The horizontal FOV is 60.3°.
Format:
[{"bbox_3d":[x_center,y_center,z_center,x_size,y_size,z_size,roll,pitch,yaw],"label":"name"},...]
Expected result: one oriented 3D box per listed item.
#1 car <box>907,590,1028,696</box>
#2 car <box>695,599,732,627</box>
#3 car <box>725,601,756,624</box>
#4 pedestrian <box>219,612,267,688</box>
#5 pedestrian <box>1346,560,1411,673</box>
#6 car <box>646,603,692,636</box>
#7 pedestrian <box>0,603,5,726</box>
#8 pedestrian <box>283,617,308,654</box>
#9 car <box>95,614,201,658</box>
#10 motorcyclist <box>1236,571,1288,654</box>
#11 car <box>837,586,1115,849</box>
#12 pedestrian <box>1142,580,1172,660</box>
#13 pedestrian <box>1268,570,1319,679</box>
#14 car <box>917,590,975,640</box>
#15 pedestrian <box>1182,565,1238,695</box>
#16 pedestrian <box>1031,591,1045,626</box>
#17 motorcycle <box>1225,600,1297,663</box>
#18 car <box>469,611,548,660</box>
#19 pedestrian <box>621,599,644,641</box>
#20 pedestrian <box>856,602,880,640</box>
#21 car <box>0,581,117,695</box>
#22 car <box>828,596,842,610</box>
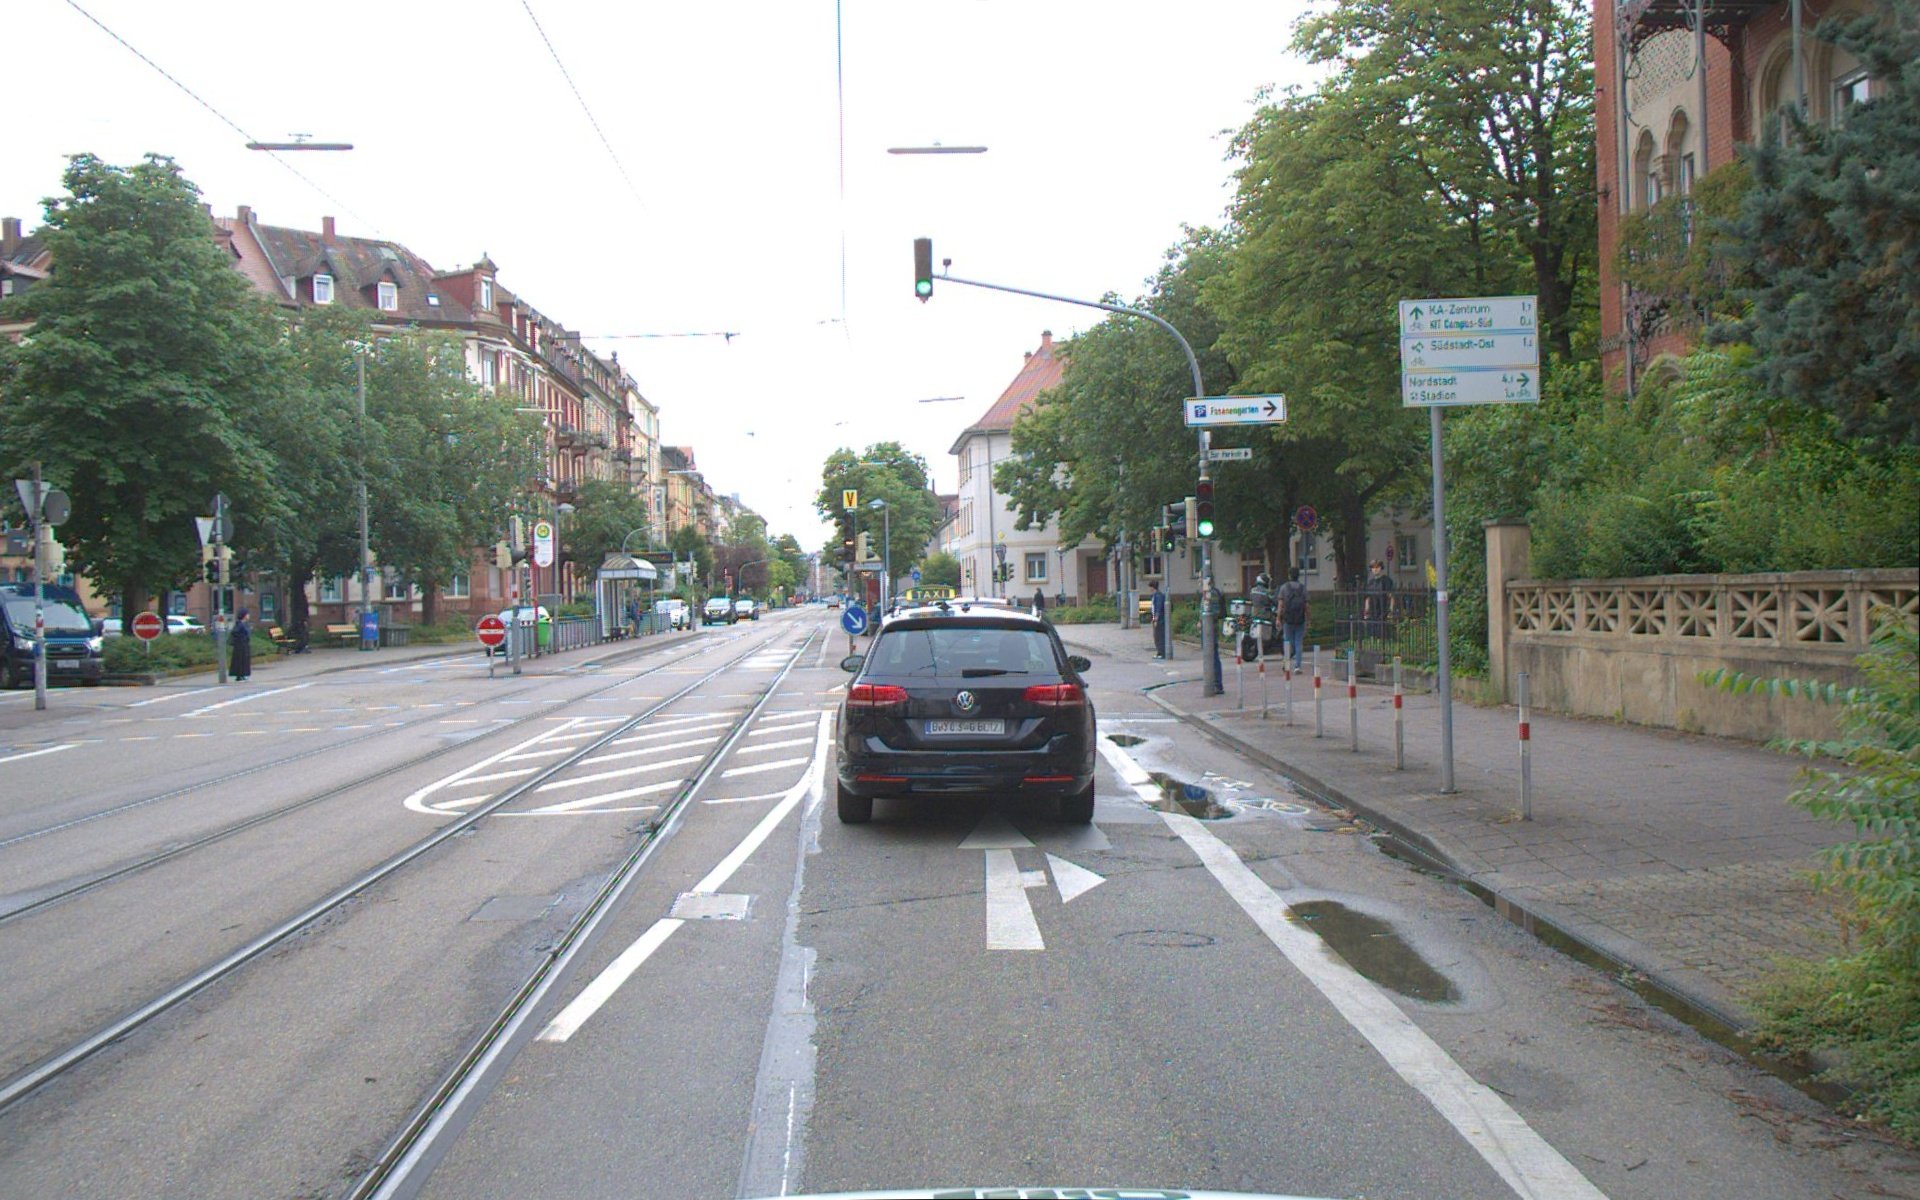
[{"bbox_3d":[0.053,0.650,27.237,1.689,1.573,3.997,-1,0,-4],"label":"car"},{"bbox_3d":[-15.337,0.780,103.017,1.759,1.624,3.999,-2,0,-1],"label":"car"},{"bbox_3d":[-16.048,0.880,121.018,1.759,1.624,3.999,-2,0,-1],"label":"car"},{"bbox_3d":[-16.479,1.137,38.019,0.820,1.692,0.591,-2,0,-3],"label":"pedestrian"},{"bbox_3d":[7.014,0.277,27.720,0.648,1.863,0.787,-2,0,-45],"label":"pedestrian"},{"bbox_3d":[-15.296,0.989,87.044,1.759,1.624,3.999,-2,0,-1],"label":"car"},{"bbox_3d":[-14.983,0.999,25.100,0.611,1.874,0.609,-2,0,-6],"label":"pedestrian"},{"bbox_3d":[-21.643,1.150,53.871,0.582,1.189,0.835,-2,0,-33],"label":"pedestrian"},{"bbox_3d":[-34.300,1.512,69.948,3.793,1.651,1.717,-2,0,-19],"label":"car"},{"bbox_3d":[6.406,0.261,35.087,0.798,1.721,0.694,-2,0,-44],"label":"motorcyclist"},{"bbox_3d":[-0.026,0.718,12.209,1.689,1.573,3.997,-1,0,-4],"label":"car"},{"bbox_3d":[4.706,0.473,39.598,0.504,1.862,0.418,-5,0,-3],"label":"pedestrian"},{"bbox_3d":[5.770,0.413,28.636,0.620,1.846,0.725,-2,0,-6],"label":"pedestrian"},{"bbox_3d":[-0.498,0.468,55.407,1.689,1.573,3.997,-1,0,-4],"label":"car"},{"bbox_3d":[3.701,0.434,24.519,0.574,1.862,0.604,-5,0,-3],"label":"pedestrian"},{"bbox_3d":[3.534,0.374,74.866,0.570,1.581,0.609,-1,0,-1],"label":"pedestrian"},{"bbox_3d":[6.400,0.659,35.100,1.892,1.257,0.441,-2,0,-43],"label":"motorcycle"},{"bbox_3d":[-14.331,1.103,52.663,1.653,1.406,3.854,-2,0,-4],"label":"car"},{"bbox_3d":[-12.305,0.756,62.147,0.700,1.547,0.589,-2,0,-2],"label":"pedestrian"},{"bbox_3d":[-3.273,0.747,58.830,0.807,1.327,0.568,-2,0,-5],"label":"pedestrian"},{"bbox_3d":[-21.847,0.882,38.696,5.288,2.459,2.171,-2,0,44],"label":"car"},{"bbox_3d":[-18.764,0.476,248.333,1.993,2.049,3.997,-1,-1,-4],"label":"car"}]
